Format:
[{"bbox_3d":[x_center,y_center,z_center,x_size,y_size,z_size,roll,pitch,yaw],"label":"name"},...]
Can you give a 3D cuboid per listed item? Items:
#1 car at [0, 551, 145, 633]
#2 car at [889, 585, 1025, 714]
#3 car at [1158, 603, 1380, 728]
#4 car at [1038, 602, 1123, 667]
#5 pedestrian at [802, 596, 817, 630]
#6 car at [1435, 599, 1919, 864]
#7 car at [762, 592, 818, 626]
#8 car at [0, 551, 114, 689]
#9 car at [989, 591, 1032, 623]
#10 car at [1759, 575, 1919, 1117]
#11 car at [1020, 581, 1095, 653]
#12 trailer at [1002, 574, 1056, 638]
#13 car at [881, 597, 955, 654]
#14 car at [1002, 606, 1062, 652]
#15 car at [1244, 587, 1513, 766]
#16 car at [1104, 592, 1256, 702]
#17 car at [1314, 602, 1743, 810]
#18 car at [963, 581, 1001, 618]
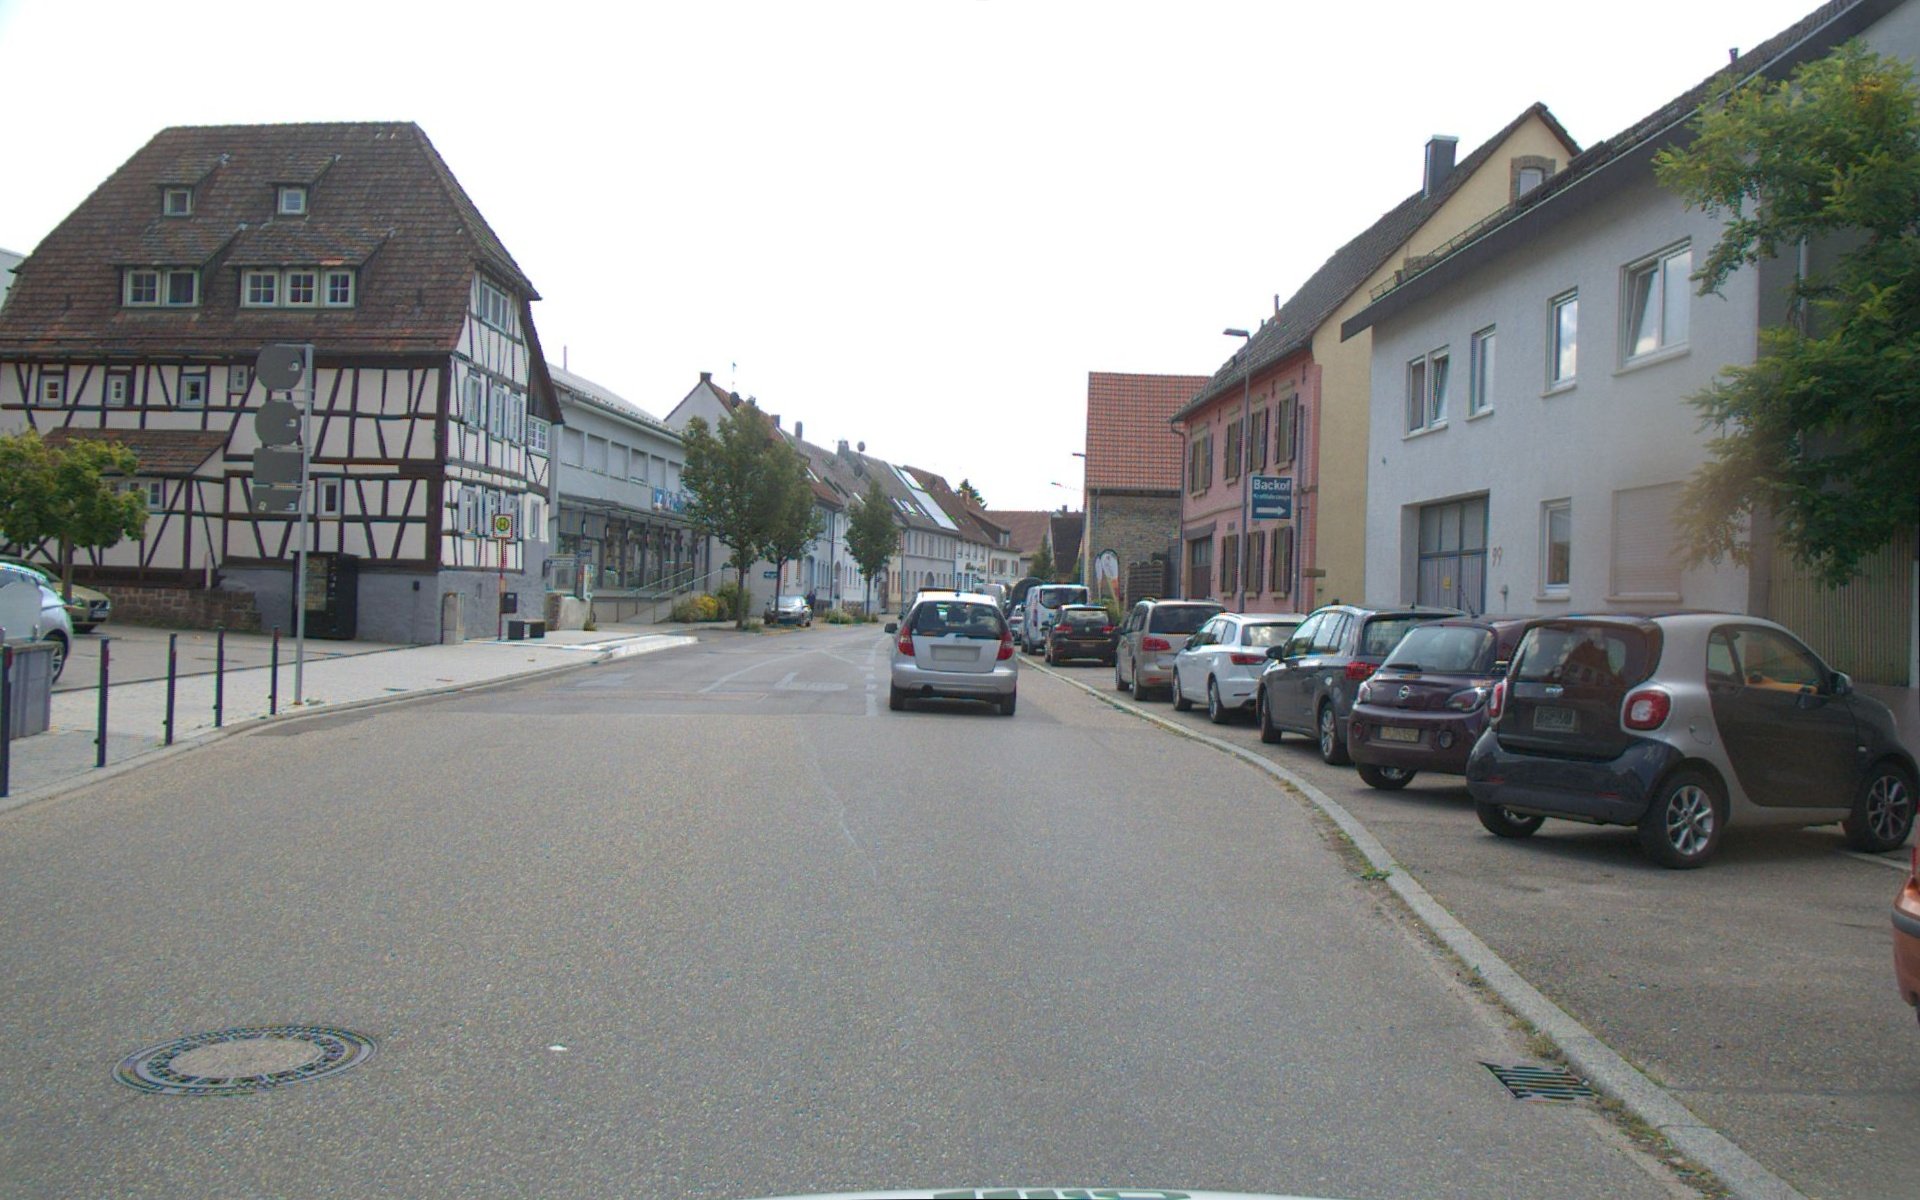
[{"bbox_3d":[-18.936,-0.232,32.968,4.335,1.413,1.965,4,0,3],"label":"car"},{"bbox_3d":[-0.060,0.661,23.725,1.733,1.622,3.999,2,0,-1],"label":"car"},{"bbox_3d":[4.224,0.845,23.348,1.955,1.544,4.367,1,0,-5],"label":"car"},{"bbox_3d":[3.000,0.822,41.846,1.738,1.521,4.161,1,0,-1],"label":"car"},{"bbox_3d":[-8.173,0.702,89.683,0.724,1.833,0.642,1,-1,0],"label":"pedestrian"},{"bbox_3d":[4.898,0.798,11.110,2.743,1.531,1.863,1,0,-25],"label":"car"},{"bbox_3d":[-7.896,0.401,77.094,1.766,1.486,4.160,2,0,5],"label":"car"},{"bbox_3d":[-11.802,0.185,19.046,1.722,1.518,4.276,5,0,1],"label":"car"},{"bbox_3d":[2.527,0.355,83.763,1.953,1.586,3.999,0,0,-2],"label":"car"},{"bbox_3d":[4.509,0.781,5.112,3.318,1.605,1.721,2,0,-13],"label":"car"},{"bbox_3d":[2.874,0.489,49.465,1.853,2.017,4.930,-1,0,-1],"label":"car"},{"bbox_3d":[2.671,0.239,64.580,1.807,2.395,3.588,1,0,-2],"label":"trailer"},{"bbox_3d":[-1.153,0.669,45.674,1.906,1.432,3.999,2,0,-2],"label":"car"},{"bbox_3d":[2.522,1.006,59.150,1.837,1.507,4.673,2,0,-1],"label":"car"},{"bbox_3d":[4.321,0.719,17.750,1.629,1.653,4.270,1,0,-2],"label":"car"},{"bbox_3d":[3.694,0.754,28.525,1.953,1.710,4.322,1,0,-1],"label":"car"},{"bbox_3d":[4.820,0.828,14.017,3.192,1.531,1.808,1,0,-30],"label":"car"},{"bbox_3d":[1.432,-0.033,104.832,2.189,2.261,4.002,1,-1,4],"label":"car"}]
